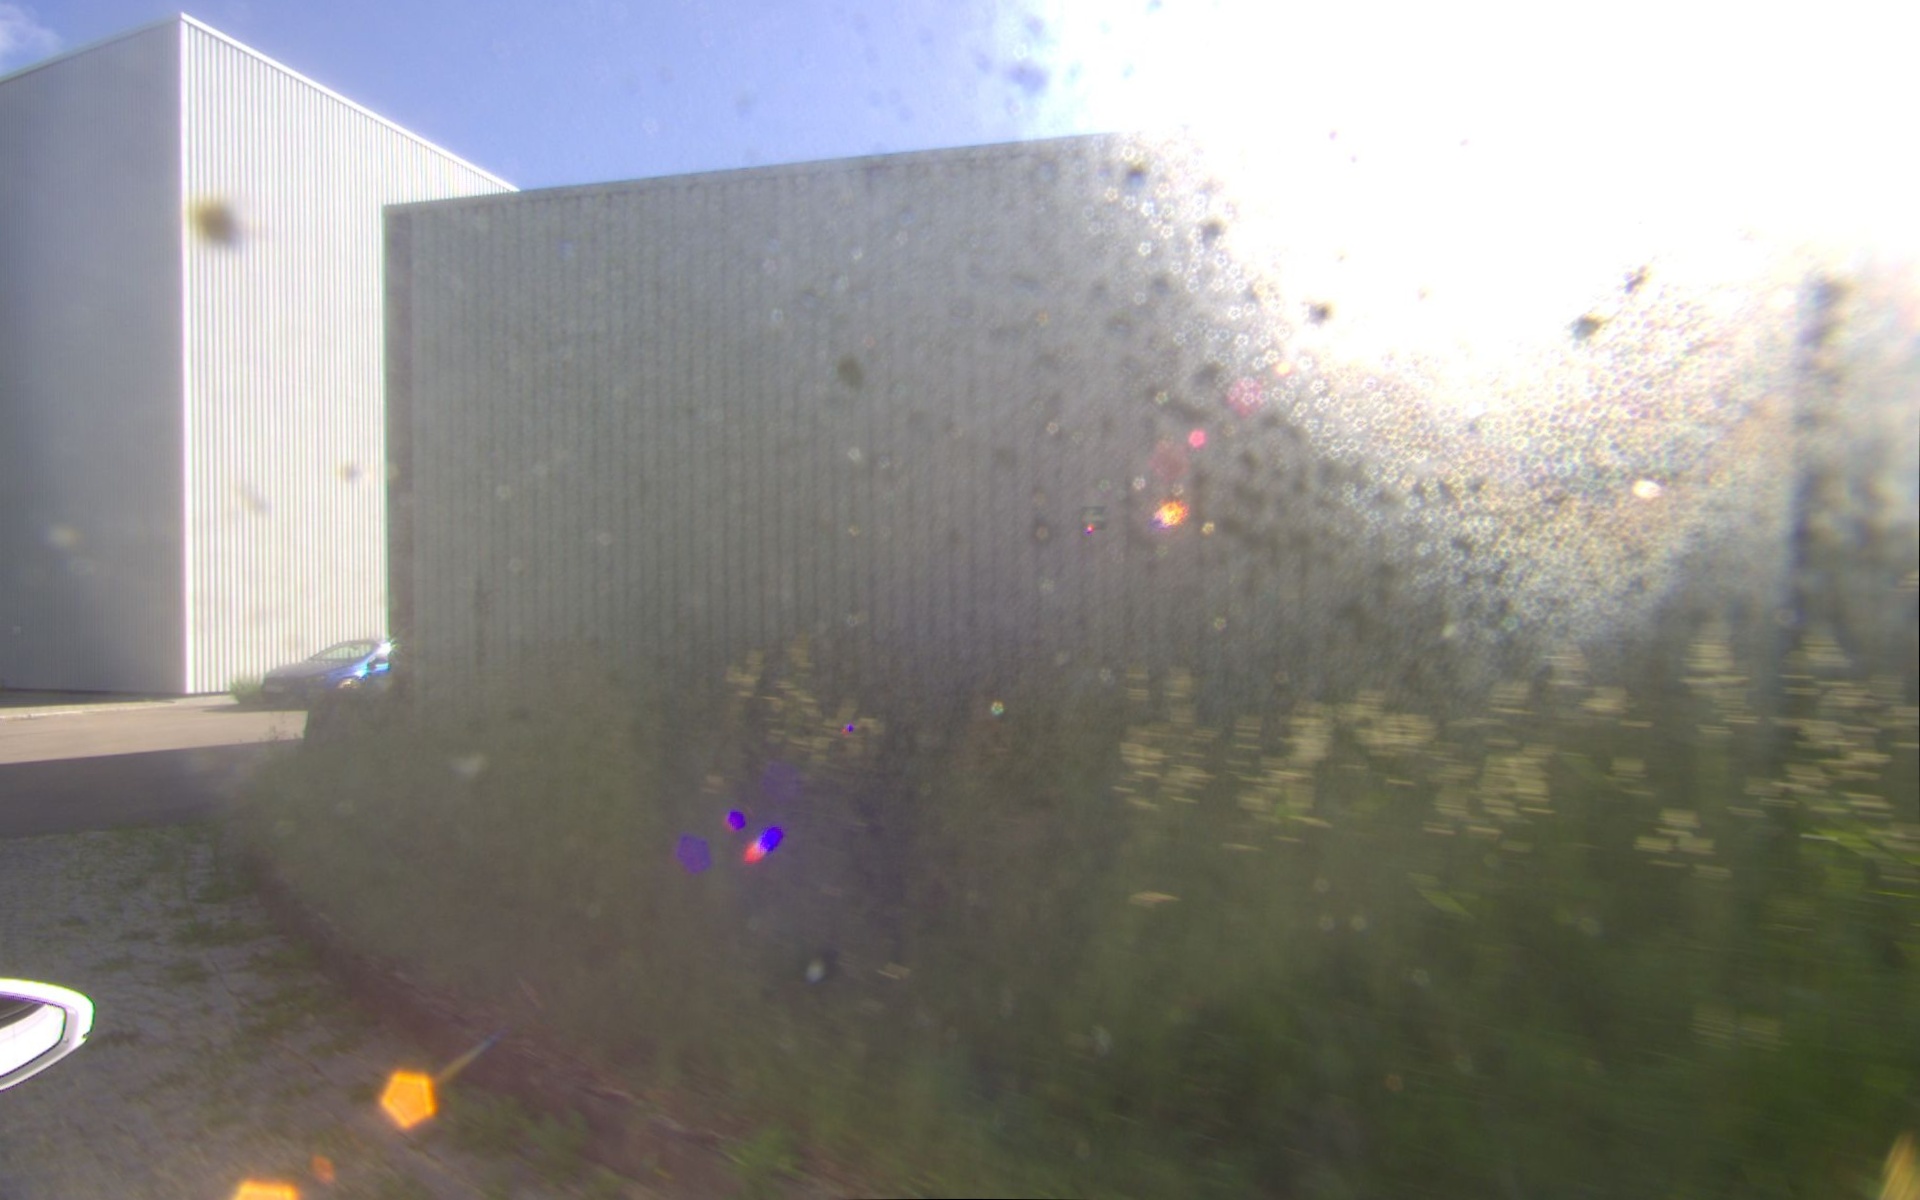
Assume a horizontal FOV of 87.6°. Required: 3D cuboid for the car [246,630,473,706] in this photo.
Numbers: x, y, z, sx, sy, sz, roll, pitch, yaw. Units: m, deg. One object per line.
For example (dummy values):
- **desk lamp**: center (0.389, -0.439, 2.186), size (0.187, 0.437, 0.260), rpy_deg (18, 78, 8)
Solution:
- **car**: center (-12.519, 1.355, 21.161), size (1.644, 1.367, 3.946), rpy_deg (1, -1, 20)
